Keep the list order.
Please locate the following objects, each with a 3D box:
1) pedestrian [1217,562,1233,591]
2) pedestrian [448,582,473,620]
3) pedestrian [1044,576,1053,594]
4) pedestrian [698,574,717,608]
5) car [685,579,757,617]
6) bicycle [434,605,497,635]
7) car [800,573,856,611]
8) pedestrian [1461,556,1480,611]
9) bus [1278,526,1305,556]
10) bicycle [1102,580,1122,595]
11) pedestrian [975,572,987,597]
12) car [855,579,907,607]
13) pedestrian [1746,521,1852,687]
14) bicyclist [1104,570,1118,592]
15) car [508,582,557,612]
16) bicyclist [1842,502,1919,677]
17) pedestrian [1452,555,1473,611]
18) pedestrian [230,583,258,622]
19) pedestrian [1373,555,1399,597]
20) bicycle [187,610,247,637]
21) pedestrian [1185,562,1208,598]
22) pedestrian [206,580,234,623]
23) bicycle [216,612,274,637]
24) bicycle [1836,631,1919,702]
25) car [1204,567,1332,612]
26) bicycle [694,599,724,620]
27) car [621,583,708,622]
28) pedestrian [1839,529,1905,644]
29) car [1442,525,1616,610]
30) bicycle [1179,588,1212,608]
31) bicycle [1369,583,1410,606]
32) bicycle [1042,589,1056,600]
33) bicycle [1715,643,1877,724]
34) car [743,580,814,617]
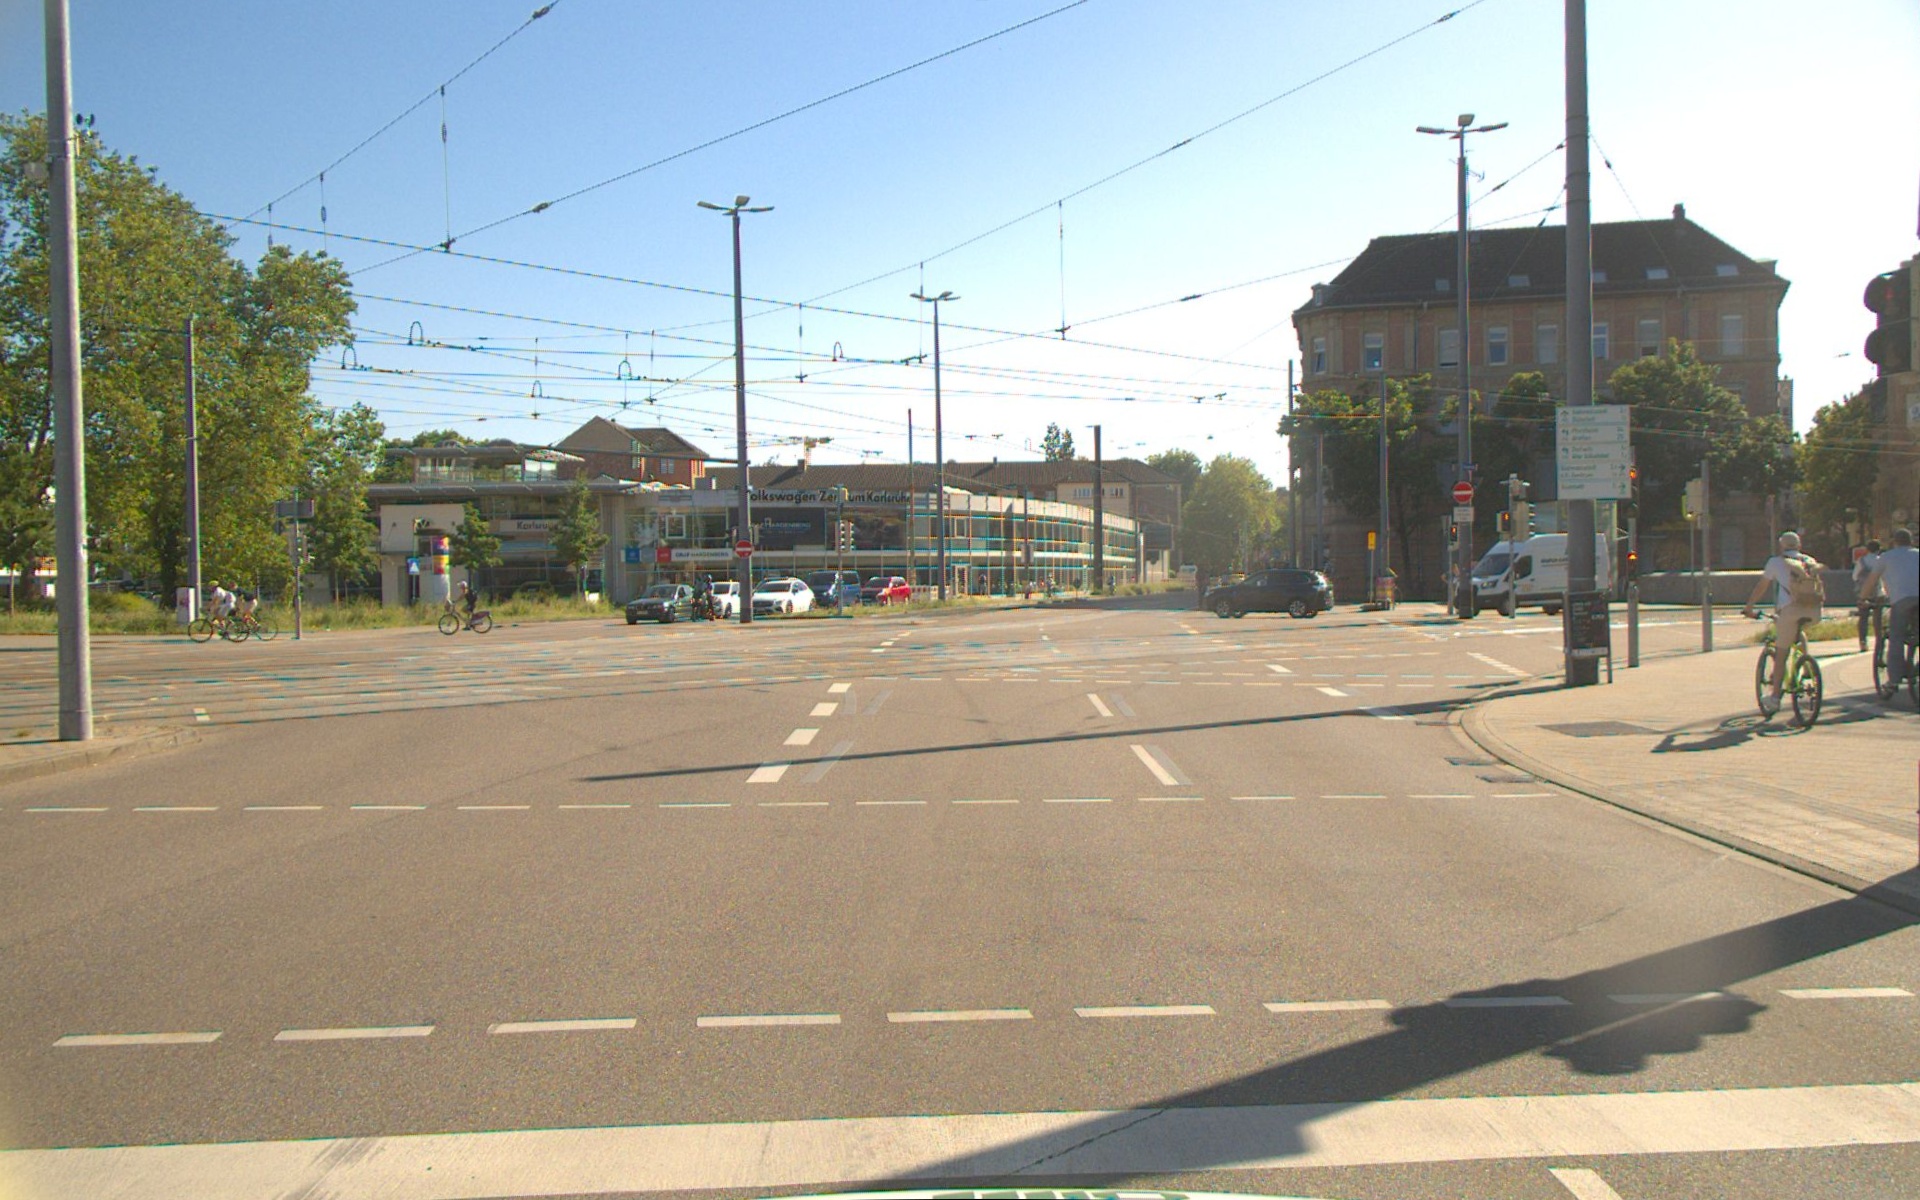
[{"bbox_3d":[13.929,-1.233,87.021,0.730,1.549,0.718,-1,0,18],"label":"pedestrian"},{"bbox_3d":[-16.465,0.029,54.539,0.781,1.225,0.557,-1,0,-18],"label":"pedestrian"},{"bbox_3d":[6.147,-1.023,114.670,0.414,1.225,0.680,-1,0,25],"label":"pedestrian"},{"bbox_3d":[-9.287,-0.341,60.882,0.413,1.225,0.750,-1,0,16],"label":"pedestrian"},{"bbox_3d":[-9.695,-0.092,67.331,1.591,1.448,3.689,-1,1,14],"label":"car"},{"bbox_3d":[-16.313,0.667,54.590,1.974,0.929,0.559,-1,1,-18],"label":"bicycle"},{"bbox_3d":[-6.313,-0.405,79.511,1.591,1.722,3.689,-1,1,14],"label":"car"},{"bbox_3d":[19.021,-0.614,61.635,0.453,2.049,0.449,-1,1,-18],"label":"pedestrian"},{"bbox_3d":[50.293,-8.804,250.562,3.754,3.670,24.887,1,0,12],"label":"bus"},{"bbox_3d":[11.382,-0.957,123.498,0.794,1.063,2.125,-1,1,25],"label":"bicycle"},{"bbox_3d":[1.449,-1.104,115.753,0.533,1.718,0.628,-1,0,35],"label":"pedestrian"},{"bbox_3d":[-4.124,-0.381,86.668,1.591,1.388,3.688,-1,1,16],"label":"car"},{"bbox_3d":[8.274,0.030,16.336,0.538,1.590,0.857,-1,0,-8],"label":"pedestrian"},{"bbox_3d":[11.265,-1.396,123.226,0.794,1.652,0.928,-1,0,26],"label":"bicyclist"},{"bbox_3d":[-25.832,-0.181,100.159,1.926,1.735,4.083,-1,1,-1],"label":"car"},{"bbox_3d":[10.065,-0.119,17.660,0.732,1.809,0.923,-2,0,-3],"label":"bicyclist"},{"bbox_3d":[18.524,-0.621,61.011,0.564,2.049,0.449,-1,1,-18],"label":"pedestrian"},{"bbox_3d":[-21.847,0.072,50.448,0.736,1.146,0.421,-1,0,-21],"label":"pedestrian"},{"bbox_3d":[17.306,-0.976,67.151,0.713,1.660,0.746,-1,0,-44],"label":"pedestrian"},{"bbox_3d":[-21.987,0.690,48.948,1.607,0.772,0.421,-1,1,-24],"label":"bicycle"},{"bbox_3d":[10.834,-0.914,75.650,0.789,1.660,0.716,0,0,34],"label":"pedestrian"},{"bbox_3d":[-21.910,0.041,48.980,0.737,1.225,0.421,-1,0,-24],"label":"pedestrian"},{"bbox_3d":[-21.805,0.750,50.464,1.605,0.730,0.421,-1,1,-21],"label":"bicycle"},{"bbox_3d":[10.081,0.697,17.731,0.526,0.667,1.467,-2,1,-3],"label":"bicycle"},{"bbox_3d":[10.871,-0.365,58.396,4.166,1.529,1.703,-1,1,25],"label":"car"},{"bbox_3d":[-9.243,0.348,60.980,0.413,0.730,1.636,-1,1,16],"label":"bicycle"},{"bbox_3d":[-10.929,0.074,61.359,1.667,1.378,3.703,-1,1,16],"label":"car"},{"bbox_3d":[15.366,-0.229,27.864,0.880,1.892,0.924,-1,1,34],"label":"pedestrian"},{"bbox_3d":[19.609,-1.144,56.952,5.828,2.792,2.128,-1,1,-25],"label":"car"},{"bbox_3d":[10.725,-0.111,75.403,0.730,0.885,1.925,0,1,34],"label":"bicycle"},{"bbox_3d":[17.509,-0.236,67.350,1.916,0.885,0.733,-1,1,-44],"label":"bicycle"},{"bbox_3d":[6.199,-0.405,114.765,0.414,0.730,1.474,-1,1,25],"label":"bicycle"},{"bbox_3d":[8.305,0.813,16.505,0.527,0.667,1.722,-4,1,-8],"label":"bicycle"},{"bbox_3d":[-7.146,-0.069,65.483,1.591,1.406,3.741,-1,1,14],"label":"car"}]
